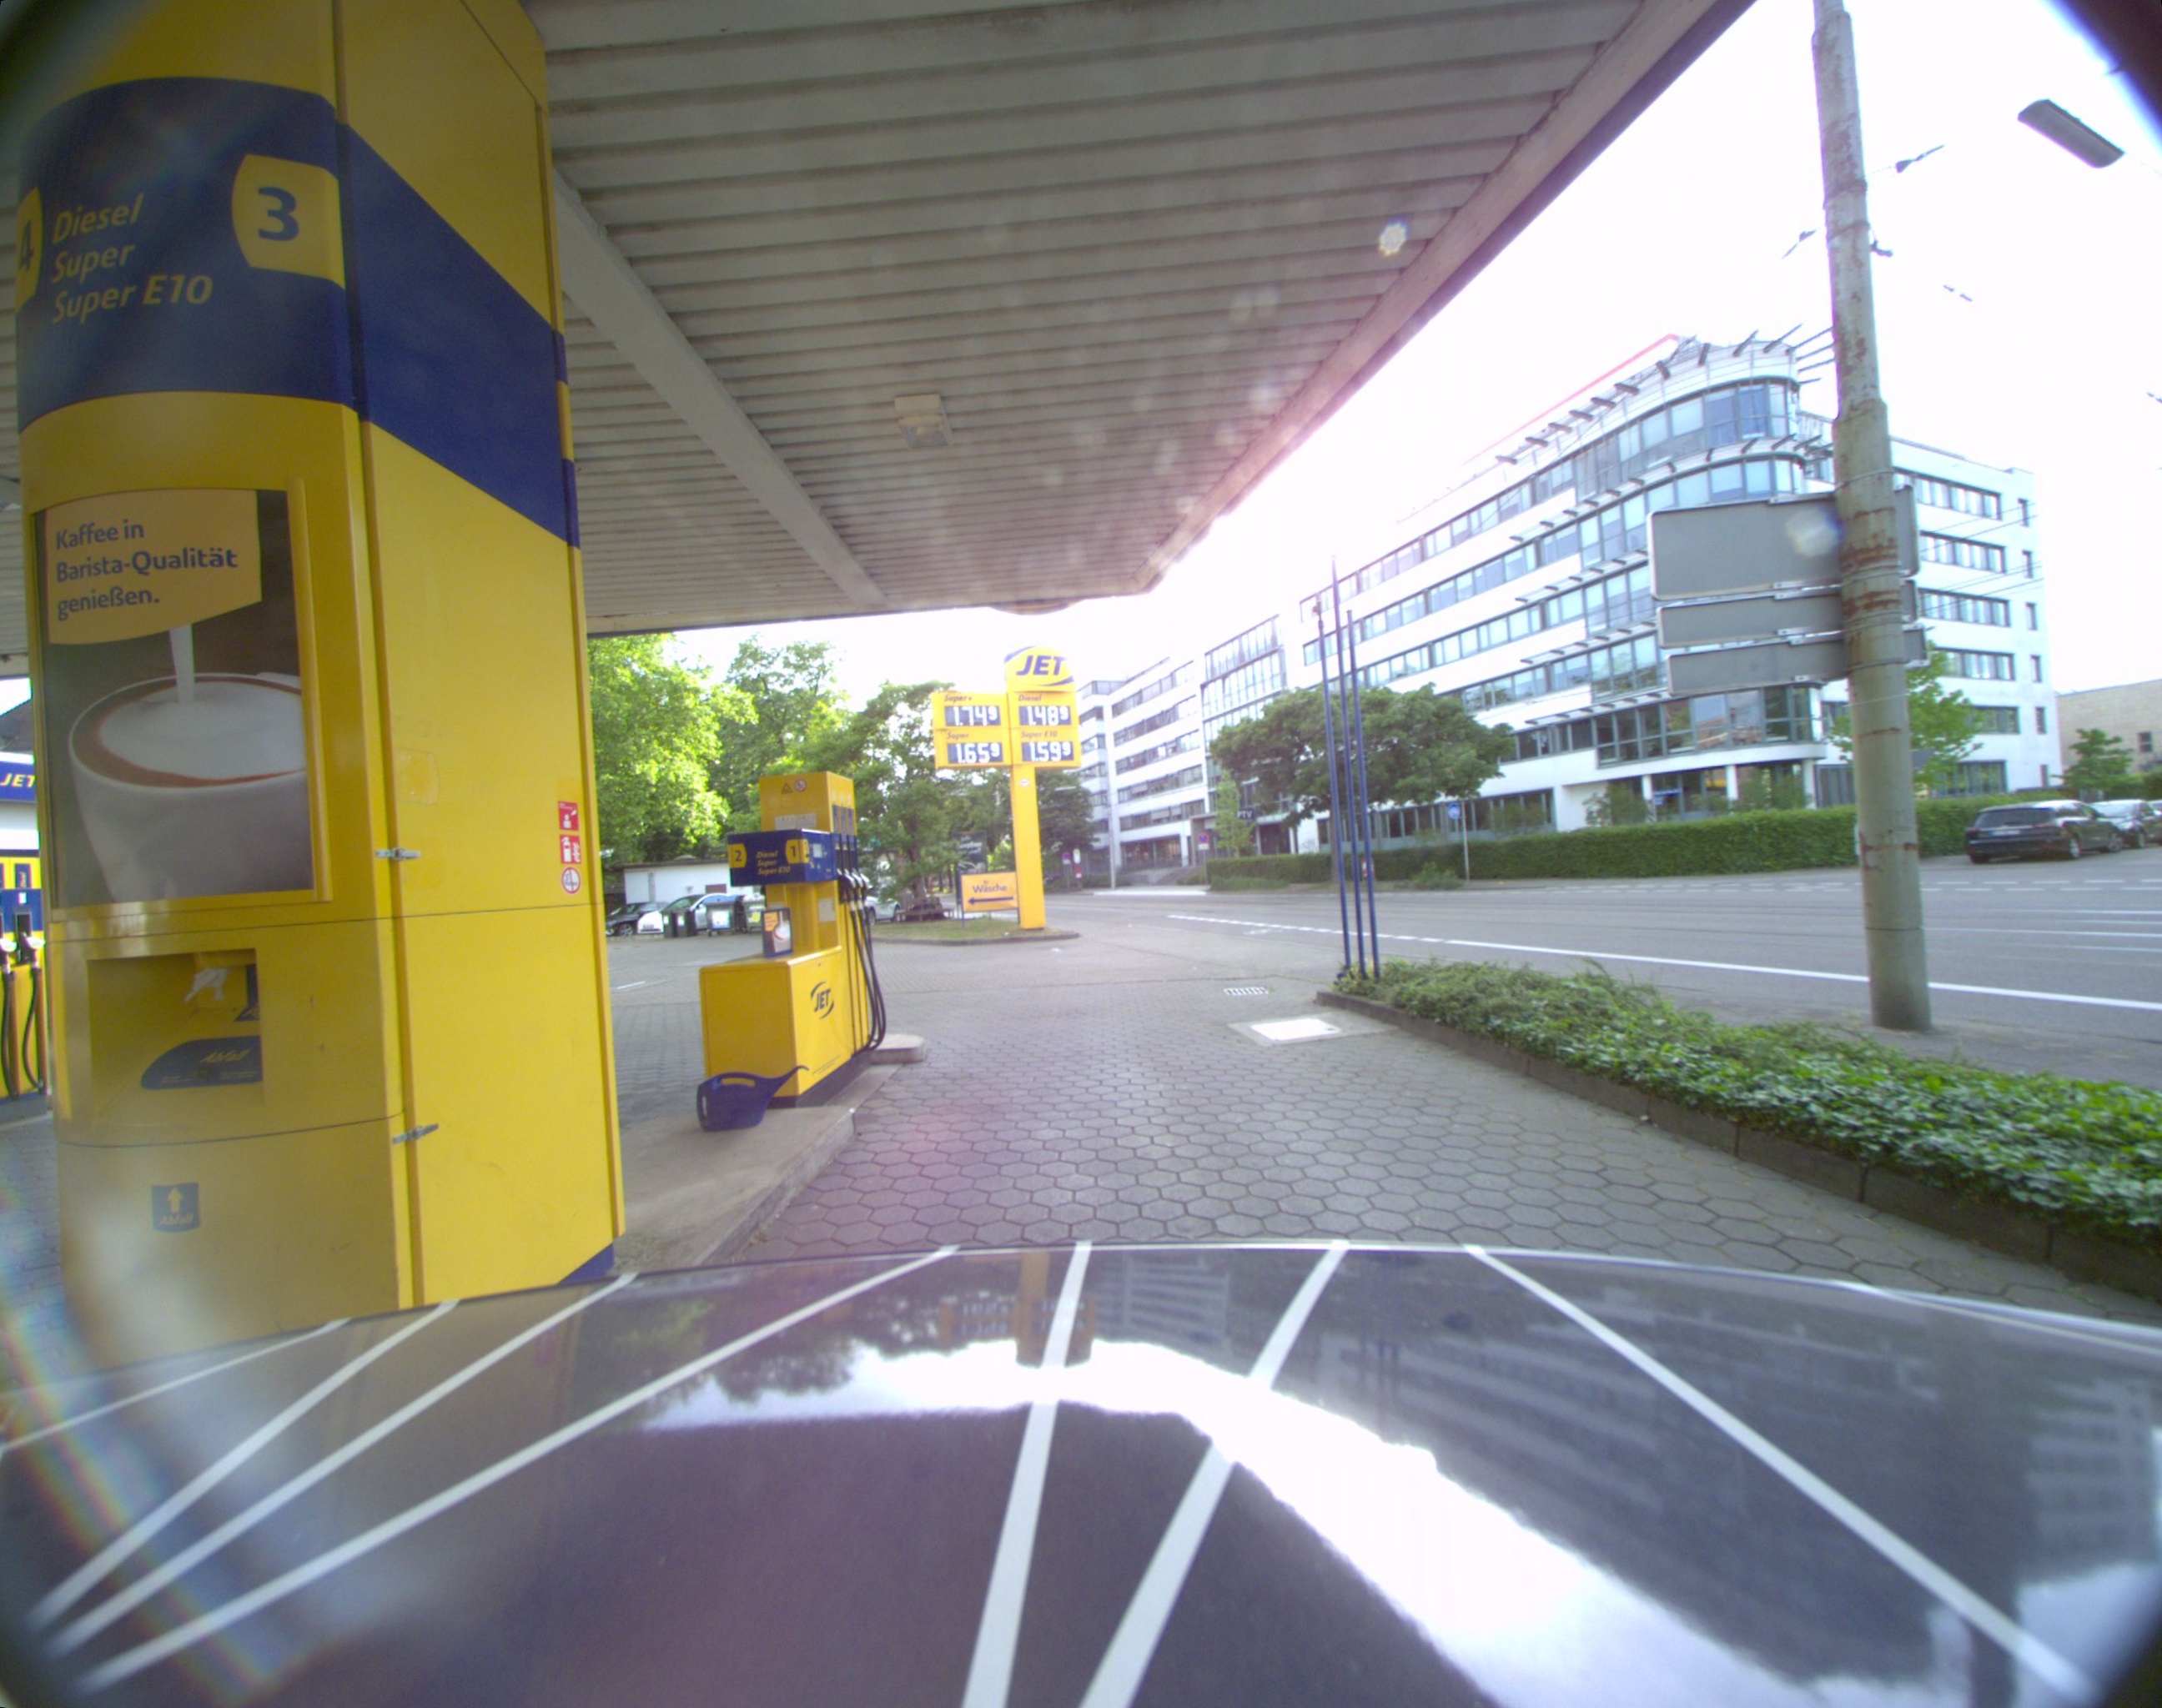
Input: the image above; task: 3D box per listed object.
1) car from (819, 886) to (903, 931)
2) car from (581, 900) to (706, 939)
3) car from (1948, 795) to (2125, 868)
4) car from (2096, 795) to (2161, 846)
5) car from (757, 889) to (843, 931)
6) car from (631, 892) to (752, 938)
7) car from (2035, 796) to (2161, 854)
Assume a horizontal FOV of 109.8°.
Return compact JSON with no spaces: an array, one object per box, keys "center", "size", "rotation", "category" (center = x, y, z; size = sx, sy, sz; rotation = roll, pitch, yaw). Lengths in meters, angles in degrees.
[{"center":[-8.690,2.120,30.374],"size":[1.739,1.500,4.003],"rotation":[-4,-2,6],"category":"car"},{"center":[-17.750,2.635,31.063],"size":[1.745,1.269,4.230],"rotation":[-5,-3,19],"category":"car"},{"center":[27.372,-0.646,21.764],"size":[4.438,1.603,1.976],"rotation":[-5,-1,-23],"category":"car"},{"center":[37.147,-1.231,26.073],"size":[4.109,1.544,1.786],"rotation":[-4,-1,-23],"category":"car"},{"center":[-11.806,2.326,32.236],"size":[1.739,1.500,4.004],"rotation":[-4,-2,6],"category":"car"},{"center":[-15.364,2.387,30.247],"size":[1.785,1.514,4.229],"rotation":[-4,-3,17],"category":"car"},{"center":[32.488,-0.937,24.035],"size":[4.109,1.544,1.786],"rotation":[-4,-1,-23],"category":"car"}]
